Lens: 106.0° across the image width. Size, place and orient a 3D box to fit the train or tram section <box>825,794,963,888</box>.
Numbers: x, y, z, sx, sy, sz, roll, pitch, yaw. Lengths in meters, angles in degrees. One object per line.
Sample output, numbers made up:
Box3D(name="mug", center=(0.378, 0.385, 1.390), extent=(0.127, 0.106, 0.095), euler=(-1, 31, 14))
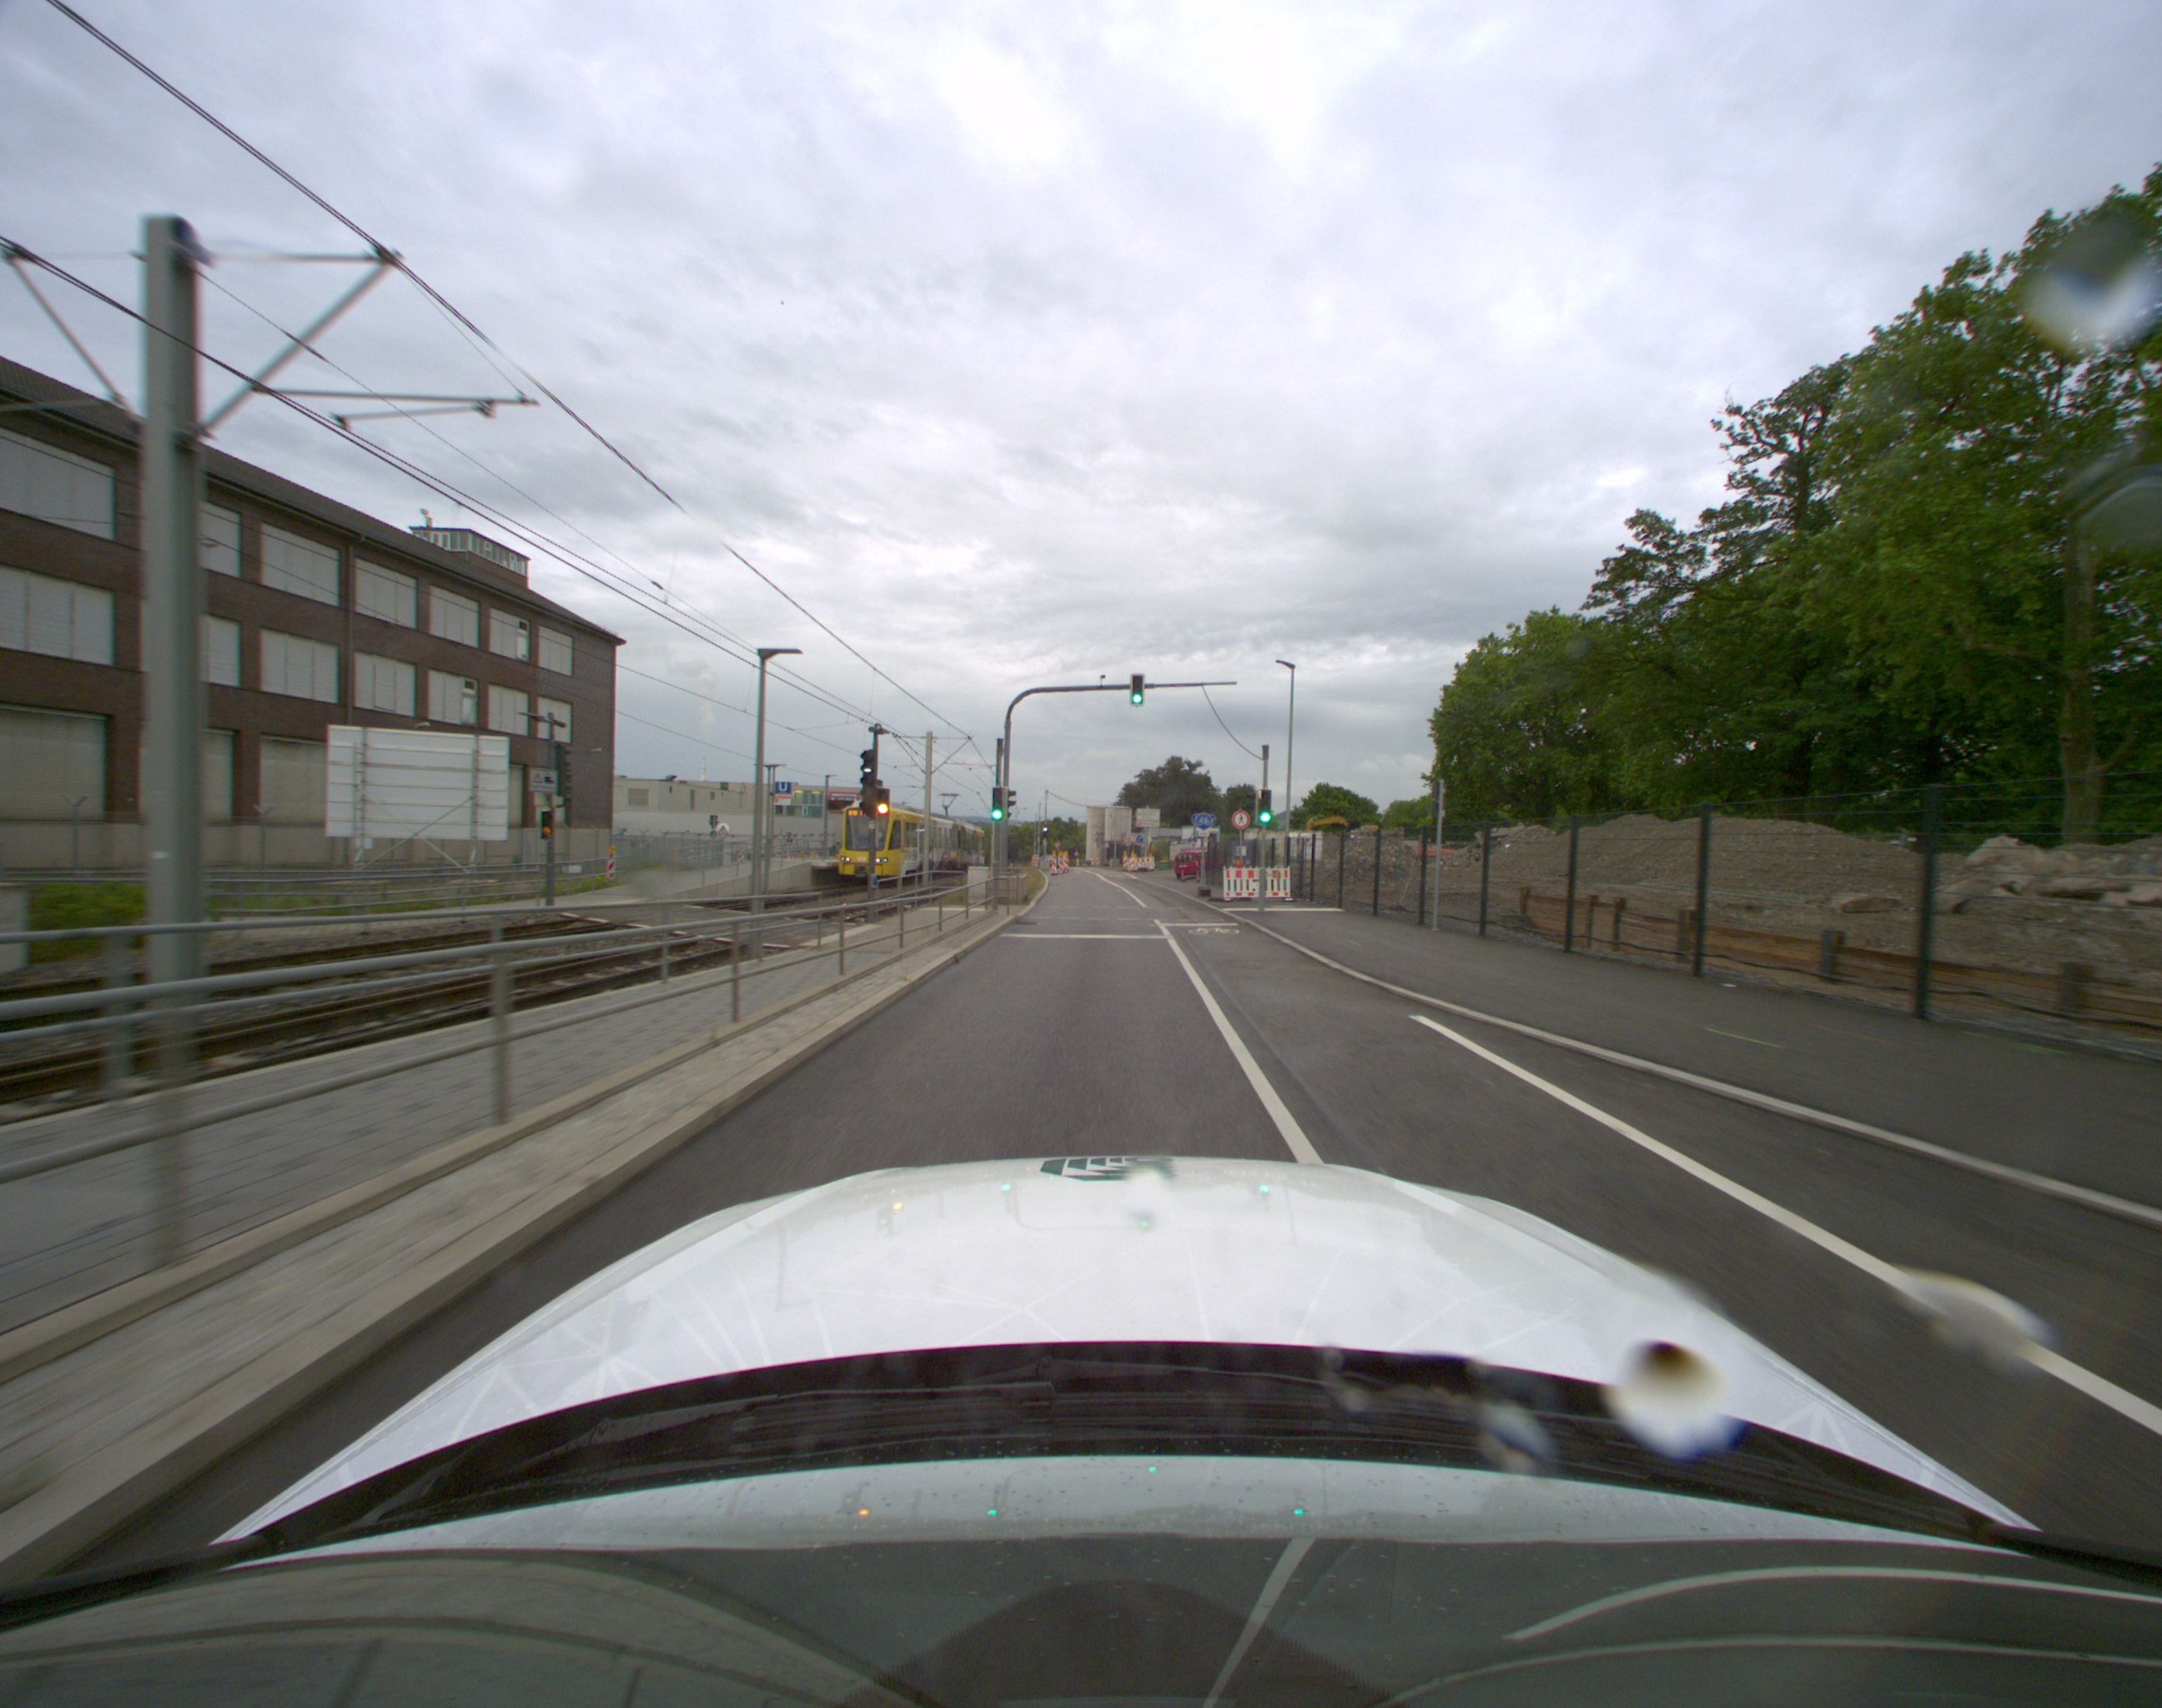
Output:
Box3D(name="train or tram section", center=(-9.361, -0.594, 44.416), extent=(2.946, 3.886, 19.568), euler=(2, 0, 0))

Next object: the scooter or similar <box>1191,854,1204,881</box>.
Box3D(name="scooter or similar", center=(6.121, 0.683, 42.824), extent=(0.612, 1.351, 1.915), euler=(1, 0, 5))

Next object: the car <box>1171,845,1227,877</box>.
Box3D(name="car", center=(7.115, 0.409, 48.552), extent=(1.802, 1.794, 4.436), euler=(1, 0, 29))

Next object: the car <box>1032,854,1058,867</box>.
Box3D(name="car", center=(-4.777, 0.806, 107.592), extent=(2.002, 1.678, 4.455), euler=(0, -1, -22))

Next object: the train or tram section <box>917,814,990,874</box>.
Box3D(name="train or tram section", center=(-9.577, -0.687, 63.831), extent=(2.947, 3.886, 19.281), euler=(2, 0, -1))

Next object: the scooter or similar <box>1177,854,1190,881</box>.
Box3D(name="scooter or similar", center=(5.438, 0.691, 43.178), extent=(0.612, 1.351, 1.915), euler=(1, 0, 5))

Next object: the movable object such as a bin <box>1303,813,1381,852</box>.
Box3D(name="movable object such as a bin", center=(40.350, -3.286, 126.311), extent=(11.173, 5.995, 3.497), euler=(0, 0, 6))
